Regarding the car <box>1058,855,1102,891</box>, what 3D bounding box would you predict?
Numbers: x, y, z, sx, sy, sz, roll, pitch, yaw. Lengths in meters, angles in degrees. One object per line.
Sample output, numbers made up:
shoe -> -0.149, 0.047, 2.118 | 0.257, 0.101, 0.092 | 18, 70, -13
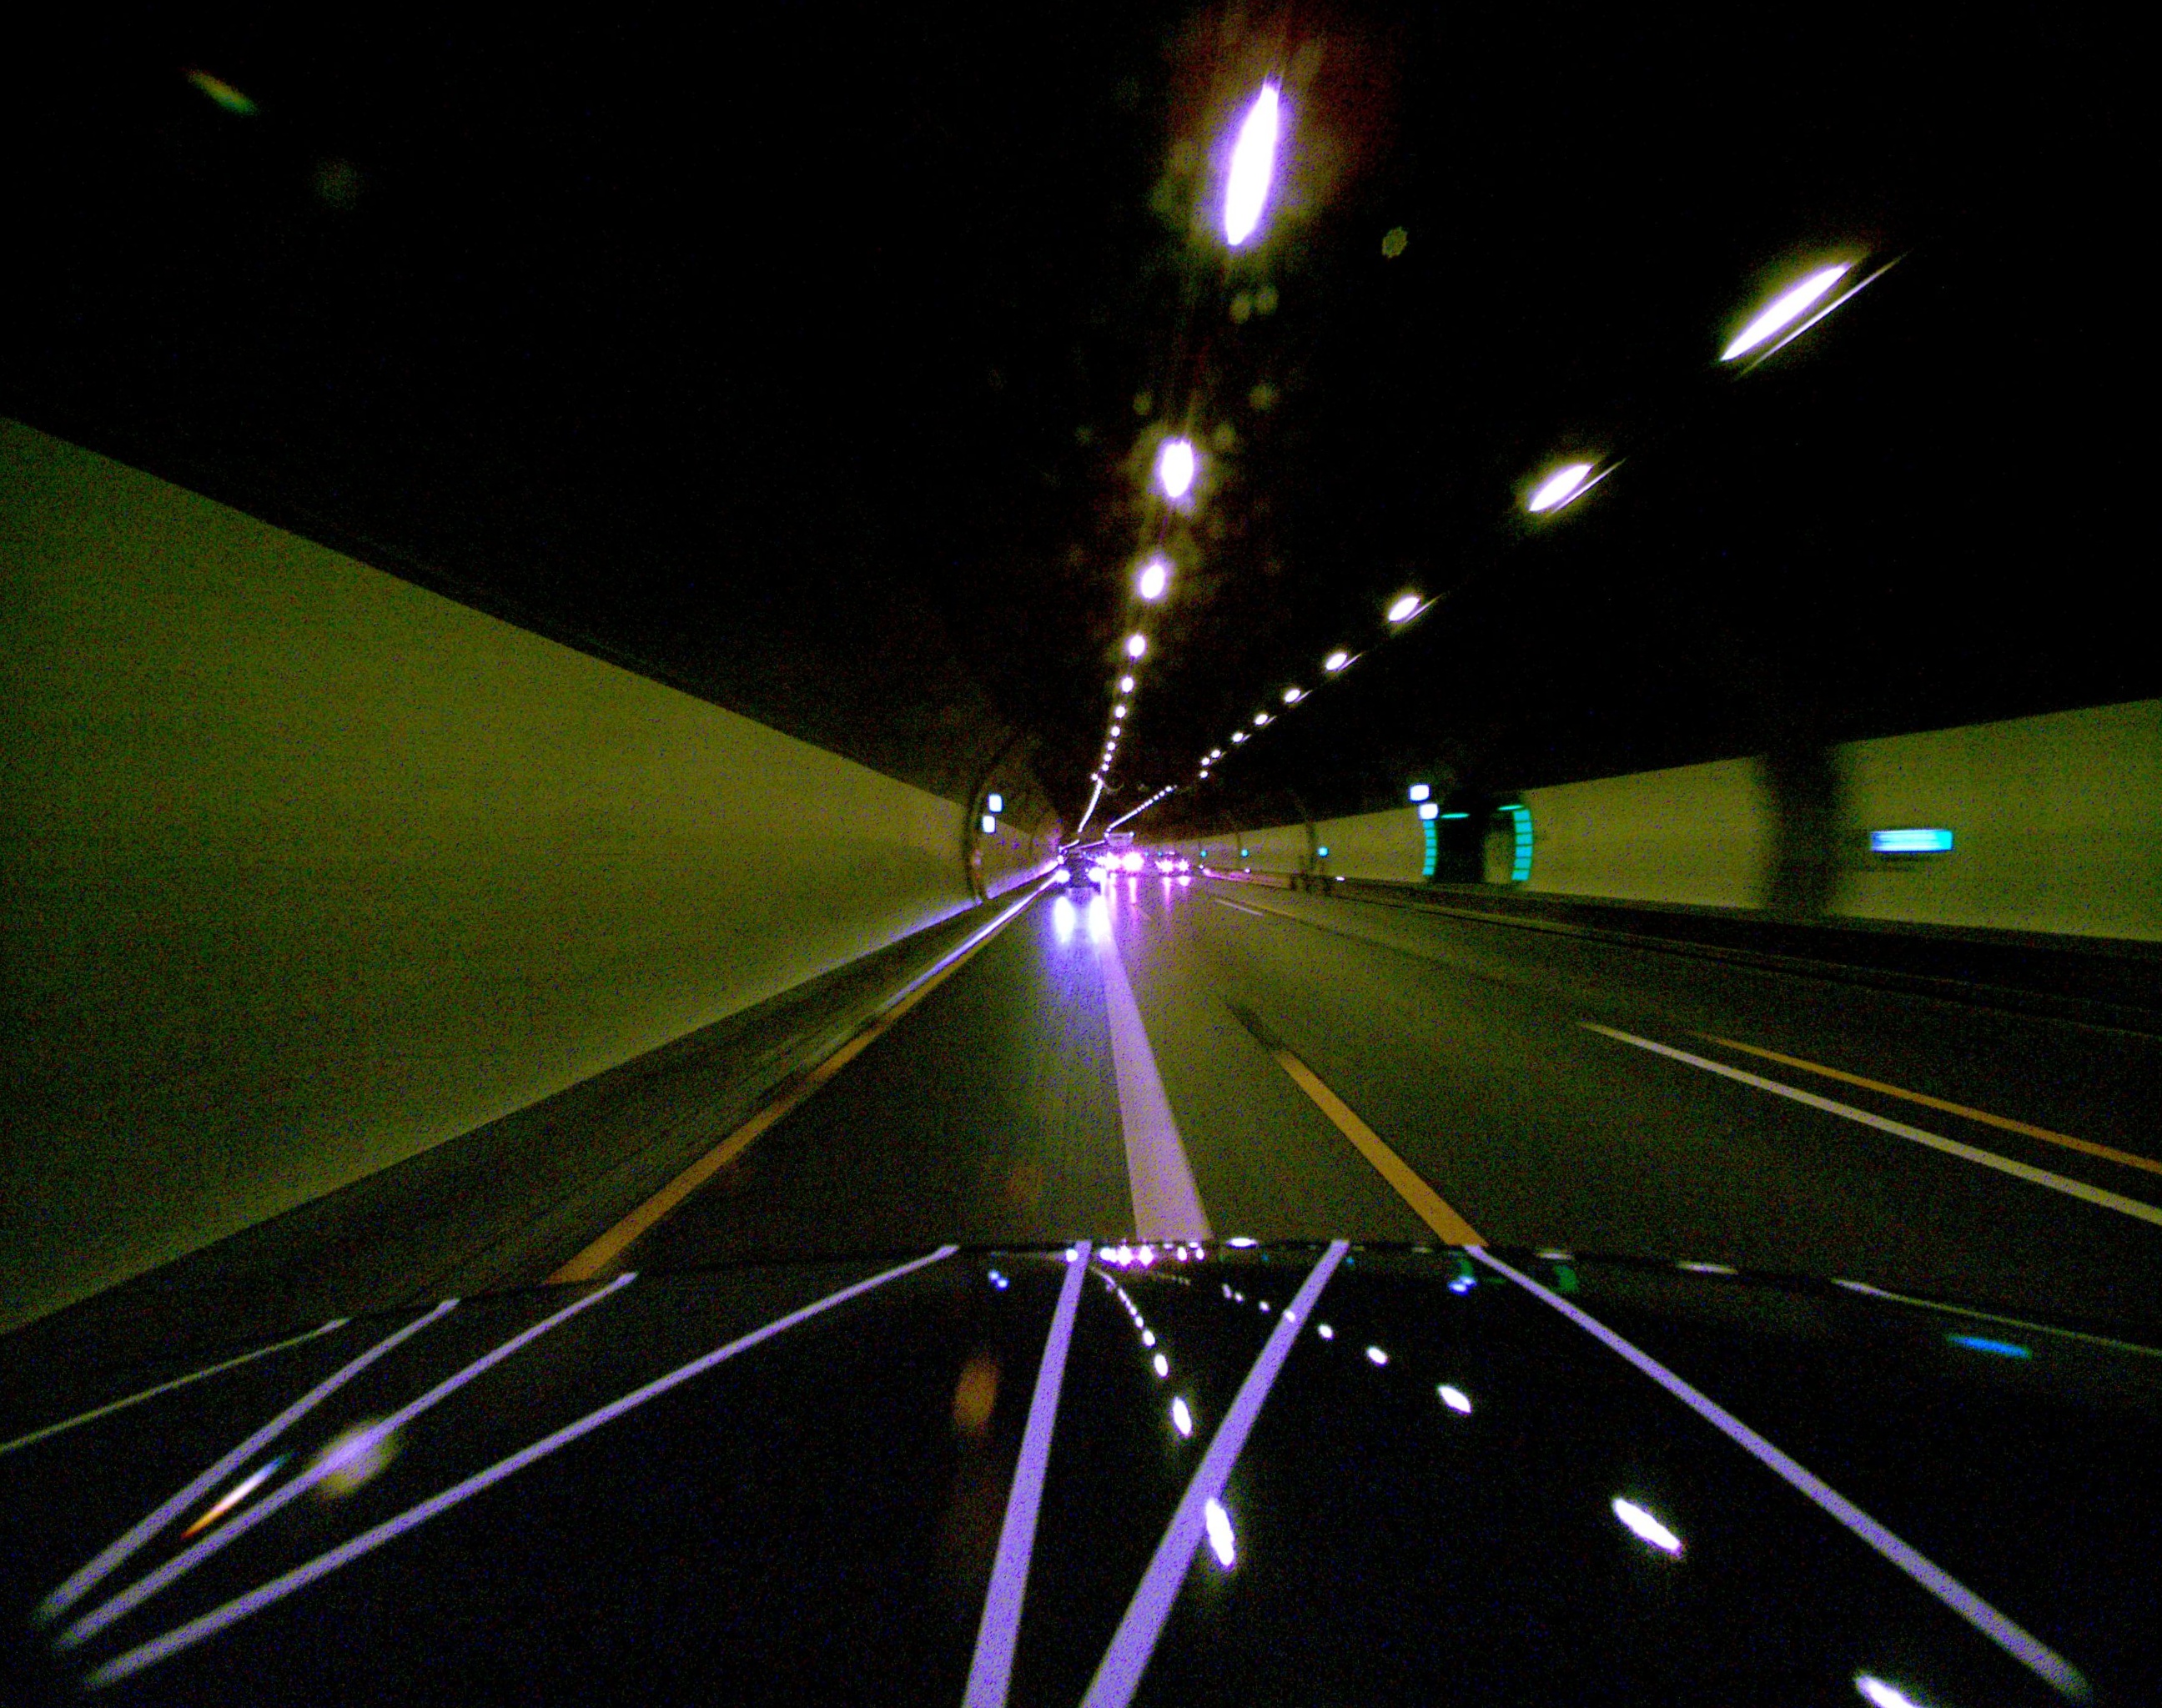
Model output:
car -> 0.019, 0.818, 34.659 | 1.727, 1.474, 4.000 | -3, 0, 3

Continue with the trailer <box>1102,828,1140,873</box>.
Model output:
trailer -> 3.145, -0.300, 62.569 | 2.374, 3.328, 12.077 | -1, 0, 0

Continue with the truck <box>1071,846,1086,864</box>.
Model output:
truck -> -0.398, 0.225, 121.522 | 2.151, 2.609, 9.908 | -3, -1, 1

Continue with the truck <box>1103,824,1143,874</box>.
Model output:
truck -> 3.017, -0.350, 55.472 | 2.374, 3.328, 4.718 | -5, 1, 0

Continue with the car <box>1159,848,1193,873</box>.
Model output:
car -> 6.481, 0.409, 52.051 | 1.766, 1.563, 4.097 | -3, 1, 0
